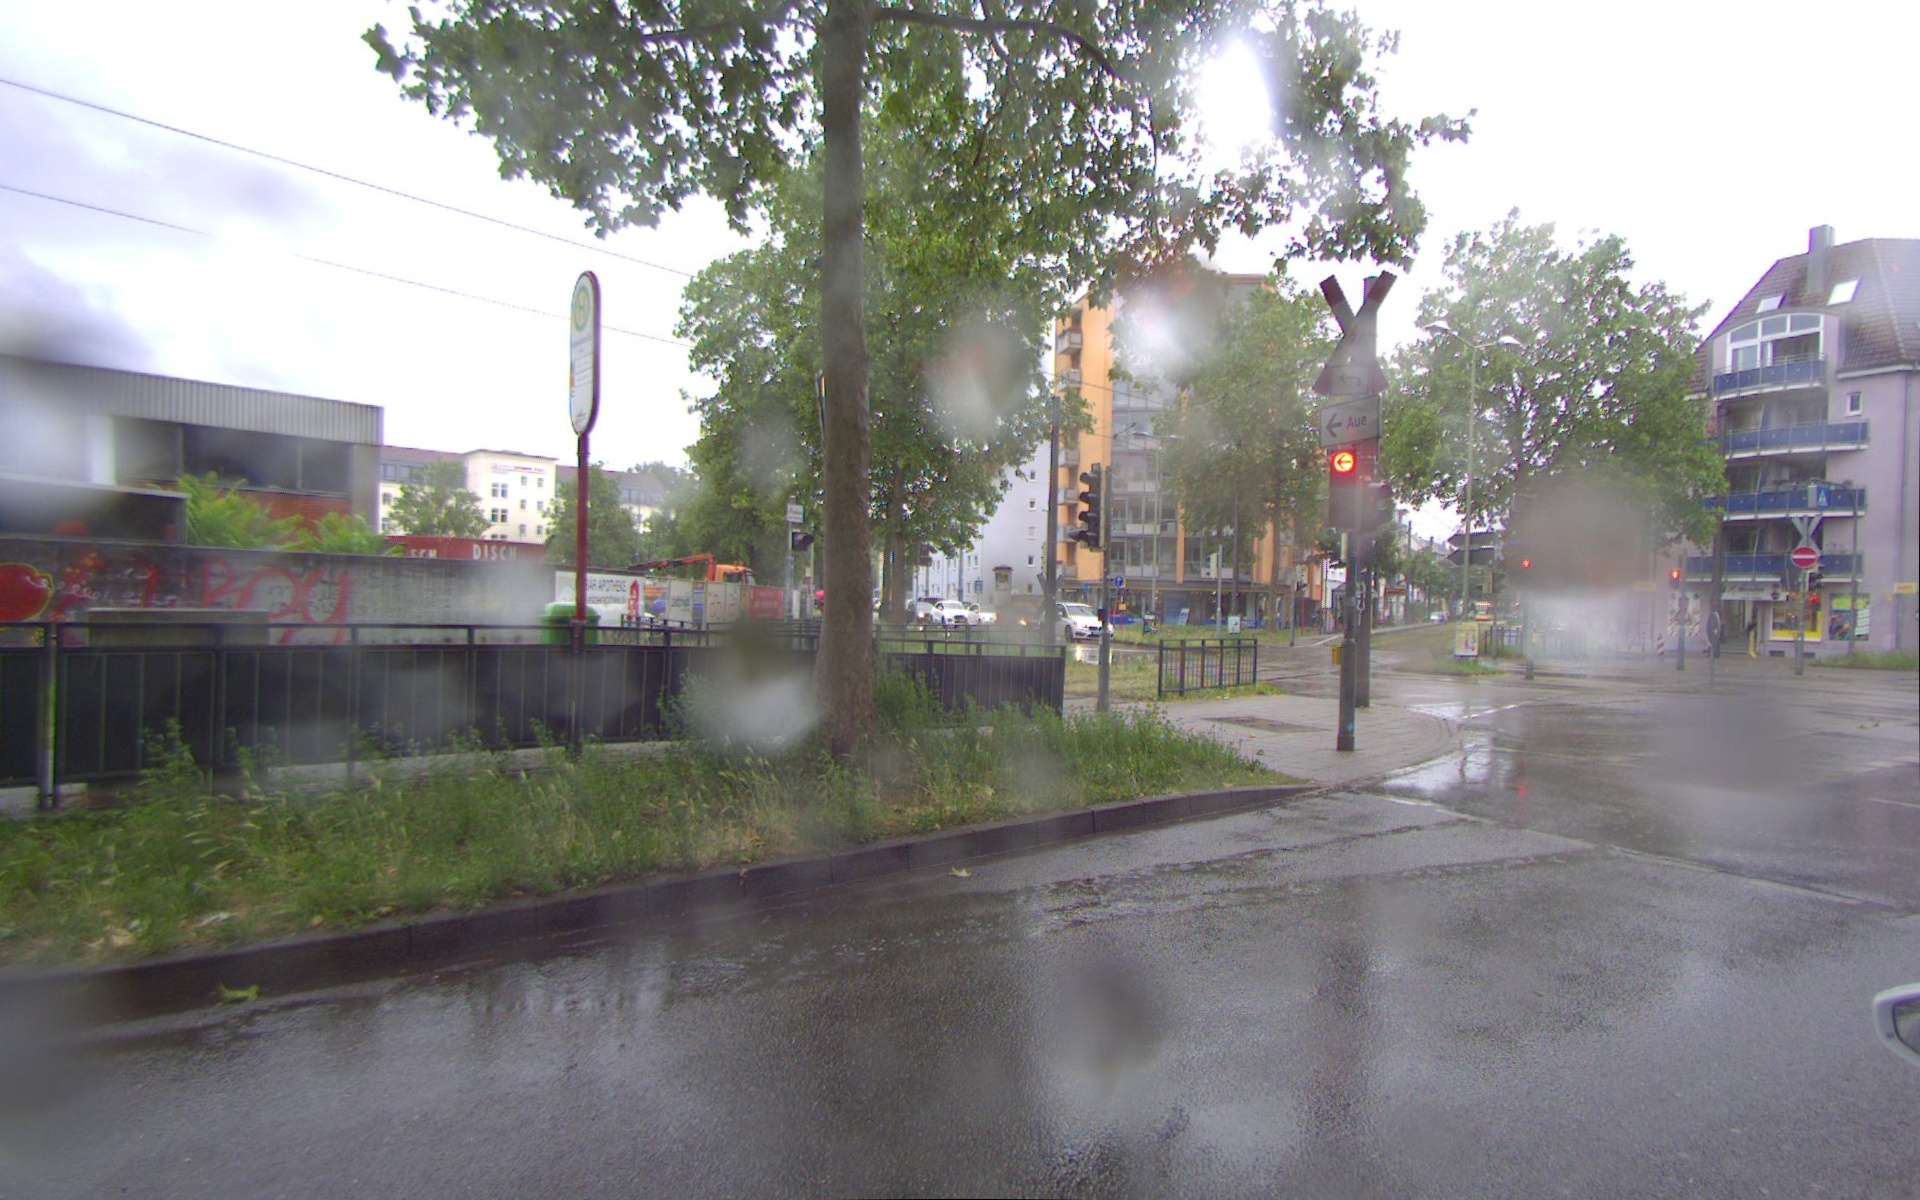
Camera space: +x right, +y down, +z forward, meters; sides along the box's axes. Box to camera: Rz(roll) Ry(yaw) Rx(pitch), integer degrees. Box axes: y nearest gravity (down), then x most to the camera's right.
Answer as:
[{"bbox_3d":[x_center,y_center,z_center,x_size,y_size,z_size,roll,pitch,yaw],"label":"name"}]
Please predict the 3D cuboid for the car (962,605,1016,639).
[{"bbox_3d":[1.458,1.154,52.451,1.697,1.661,3.780,1,-1,-17],"label":"car"}]

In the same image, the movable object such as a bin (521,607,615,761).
[{"bbox_3d":[-2.943,0.609,7.544,0.412,1.104,0.528,0,-1,44],"label":"movable object such as a bin"}]

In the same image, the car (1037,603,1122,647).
[{"bbox_3d":[4.736,0.988,40.339,1.941,1.673,4.004,1,-1,-17],"label":"car"}]

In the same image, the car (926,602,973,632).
[{"bbox_3d":[-0.643,0.987,58.381,1.697,1.661,3.780,1,-1,-17],"label":"car"}]

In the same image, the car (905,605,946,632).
[{"bbox_3d":[-2.229,1.180,64.490,1.697,1.661,3.780,1,-1,-17],"label":"car"}]

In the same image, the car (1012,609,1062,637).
[{"bbox_3d":[4.234,1.295,55.779,1.696,1.505,3.642,1,-1,-15],"label":"car"}]

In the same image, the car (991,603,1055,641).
[{"bbox_3d":[2.845,0.999,46.223,1.697,1.661,3.780,1,-1,-17],"label":"car"}]
